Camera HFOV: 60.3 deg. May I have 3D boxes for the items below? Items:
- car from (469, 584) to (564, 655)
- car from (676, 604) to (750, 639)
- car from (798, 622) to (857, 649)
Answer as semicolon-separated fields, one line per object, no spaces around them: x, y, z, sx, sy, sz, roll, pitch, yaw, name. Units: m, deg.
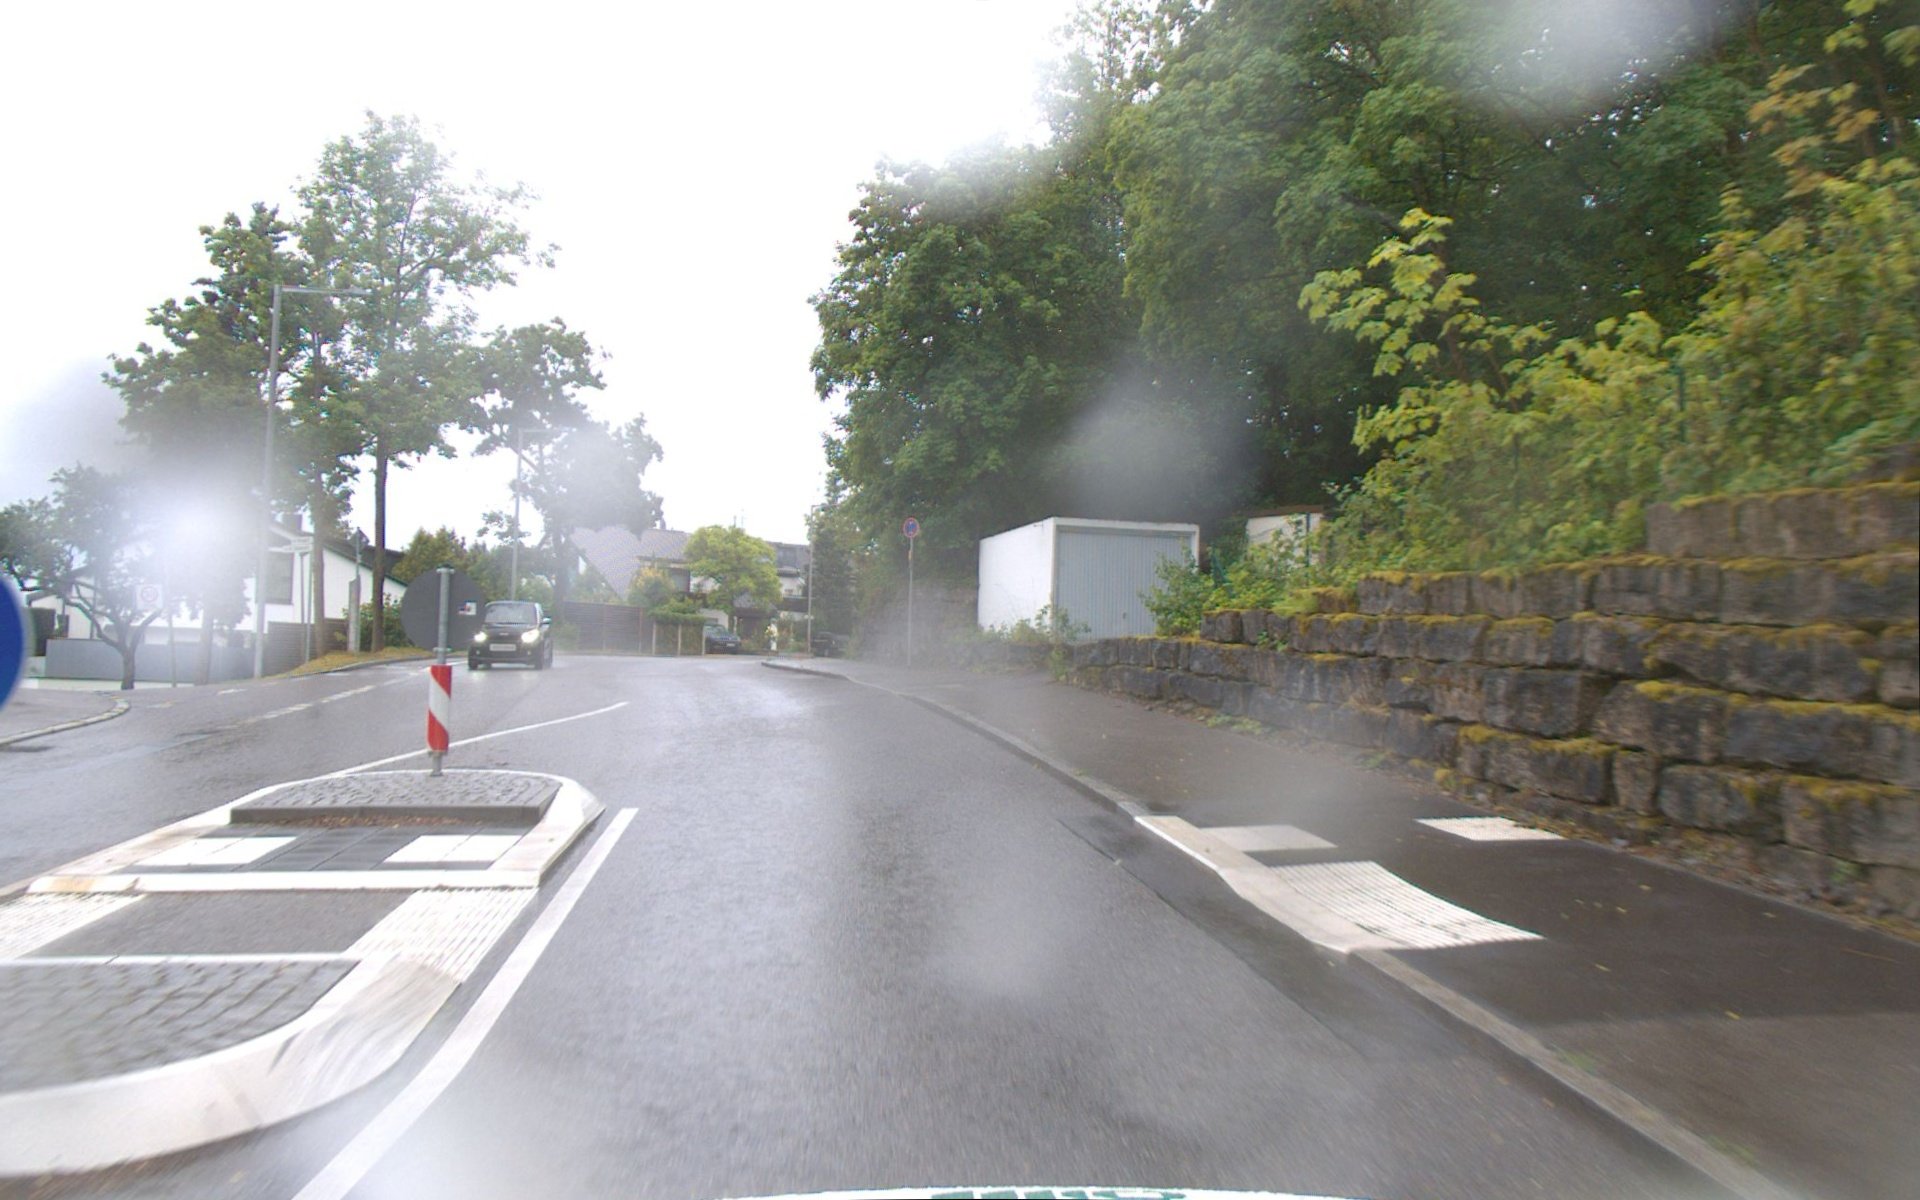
-10.468;0.447;39.292;1.799;1.547;4.614;-1;0;-11;car
-13.272;1.123;88.753;1.998;1.660;3.936;4;-1;-44;car
-7.805;2.070;97.246;1.914;1.413;3.959;4;-2;-30;car
